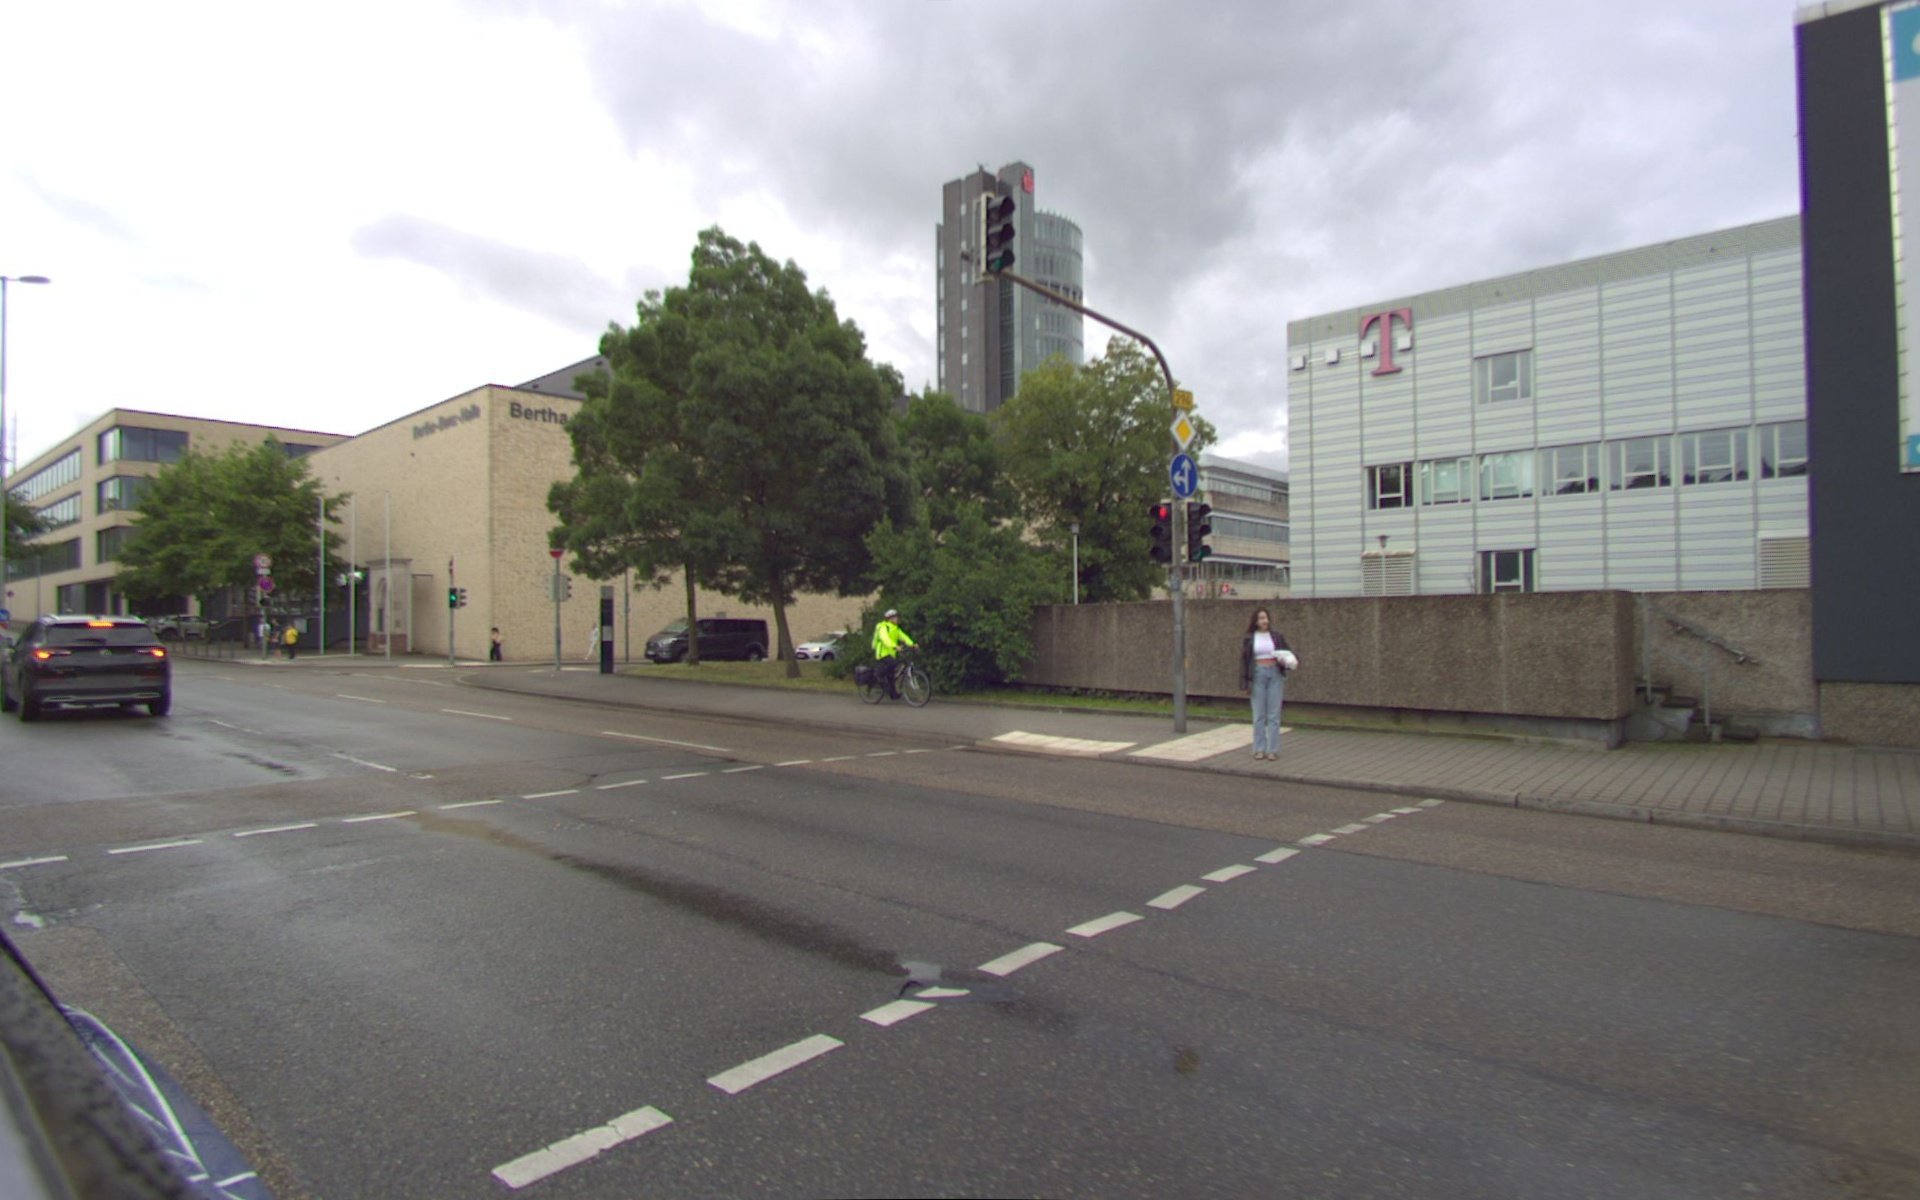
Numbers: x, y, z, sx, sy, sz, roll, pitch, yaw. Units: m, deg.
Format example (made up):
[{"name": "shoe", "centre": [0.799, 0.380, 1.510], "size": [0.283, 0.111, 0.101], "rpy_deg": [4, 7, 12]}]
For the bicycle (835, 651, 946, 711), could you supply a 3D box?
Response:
[{"name": "bicycle", "centre": [-1.225, 1.378, 17.584], "size": [1.867, 0.914, 0.875], "rpy_deg": [-1, 0, 44]}]

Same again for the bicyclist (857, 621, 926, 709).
[{"name": "bicyclist", "centre": [-1.182, 1.098, 17.523], "size": [0.812, 1.453, 0.833], "rpy_deg": [-1, 0, 43]}]

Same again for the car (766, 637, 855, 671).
[{"name": "car", "centre": [-7.366, 2.692, 50.115], "size": [1.999, 1.469, 3.946], "rpy_deg": [-2, -6, 41]}]

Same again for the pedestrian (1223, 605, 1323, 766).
[{"name": "pedestrian", "centre": [3.500, 0.914, 11.326], "size": [0.811, 1.702, 0.709], "rpy_deg": [-1, 0, 43]}]

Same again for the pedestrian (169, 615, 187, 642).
[{"name": "pedestrian", "centre": [-49.399, 1.769, 63.935], "size": [0.792, 1.660, 0.977], "rpy_deg": [-1, 0, -42]}]

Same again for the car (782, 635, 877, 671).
[{"name": "car", "centre": [-5.903, 2.410, 46.082], "size": [1.999, 1.469, 3.946], "rpy_deg": [-2, -6, 41]}]

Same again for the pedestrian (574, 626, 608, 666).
[{"name": "pedestrian", "centre": [-16.130, 1.994, 44.242], "size": [0.807, 1.713, 1.099], "rpy_deg": [-1, 0, 39]}]

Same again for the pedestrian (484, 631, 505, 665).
[{"name": "pedestrian", "centre": [-19.235, 1.973, 41.797], "size": [0.475, 1.386, 0.614], "rpy_deg": [-1, 0, 42]}]

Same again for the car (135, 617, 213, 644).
[{"name": "car", "centre": [-52.492, 2.018, 67.616], "size": [3.941, 1.597, 2.001], "rpy_deg": [-1, 0, -45]}]

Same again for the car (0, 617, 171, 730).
[{"name": "car", "centre": [-14.485, 1.103, 16.567], "size": [4.294, 1.606, 1.788], "rpy_deg": [-2, -2, 42]}]

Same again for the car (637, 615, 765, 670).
[{"name": "car", "centre": [-10.381, 1.756, 40.924], "size": [1.998, 1.940, 4.730], "rpy_deg": [-1, -5, 38]}]

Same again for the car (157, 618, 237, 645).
[{"name": "car", "centre": [-50.149, 2.046, 66.538], "size": [3.941, 1.597, 2.001], "rpy_deg": [-1, 0, -45]}]

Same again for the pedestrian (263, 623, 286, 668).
[{"name": "pedestrian", "centre": [-27.889, 1.830, 41.179], "size": [0.691, 1.784, 0.588], "rpy_deg": [-1, 0, 40]}]

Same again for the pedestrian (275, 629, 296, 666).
[{"name": "pedestrian", "centre": [-28.531, 2.003, 42.809], "size": [0.691, 1.528, 0.588], "rpy_deg": [-1, 0, 40]}]

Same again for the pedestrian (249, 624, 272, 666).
[{"name": "pedestrian", "centre": [-29.859, 1.918, 43.182], "size": [0.691, 1.744, 0.588], "rpy_deg": [-1, 0, 37]}]
